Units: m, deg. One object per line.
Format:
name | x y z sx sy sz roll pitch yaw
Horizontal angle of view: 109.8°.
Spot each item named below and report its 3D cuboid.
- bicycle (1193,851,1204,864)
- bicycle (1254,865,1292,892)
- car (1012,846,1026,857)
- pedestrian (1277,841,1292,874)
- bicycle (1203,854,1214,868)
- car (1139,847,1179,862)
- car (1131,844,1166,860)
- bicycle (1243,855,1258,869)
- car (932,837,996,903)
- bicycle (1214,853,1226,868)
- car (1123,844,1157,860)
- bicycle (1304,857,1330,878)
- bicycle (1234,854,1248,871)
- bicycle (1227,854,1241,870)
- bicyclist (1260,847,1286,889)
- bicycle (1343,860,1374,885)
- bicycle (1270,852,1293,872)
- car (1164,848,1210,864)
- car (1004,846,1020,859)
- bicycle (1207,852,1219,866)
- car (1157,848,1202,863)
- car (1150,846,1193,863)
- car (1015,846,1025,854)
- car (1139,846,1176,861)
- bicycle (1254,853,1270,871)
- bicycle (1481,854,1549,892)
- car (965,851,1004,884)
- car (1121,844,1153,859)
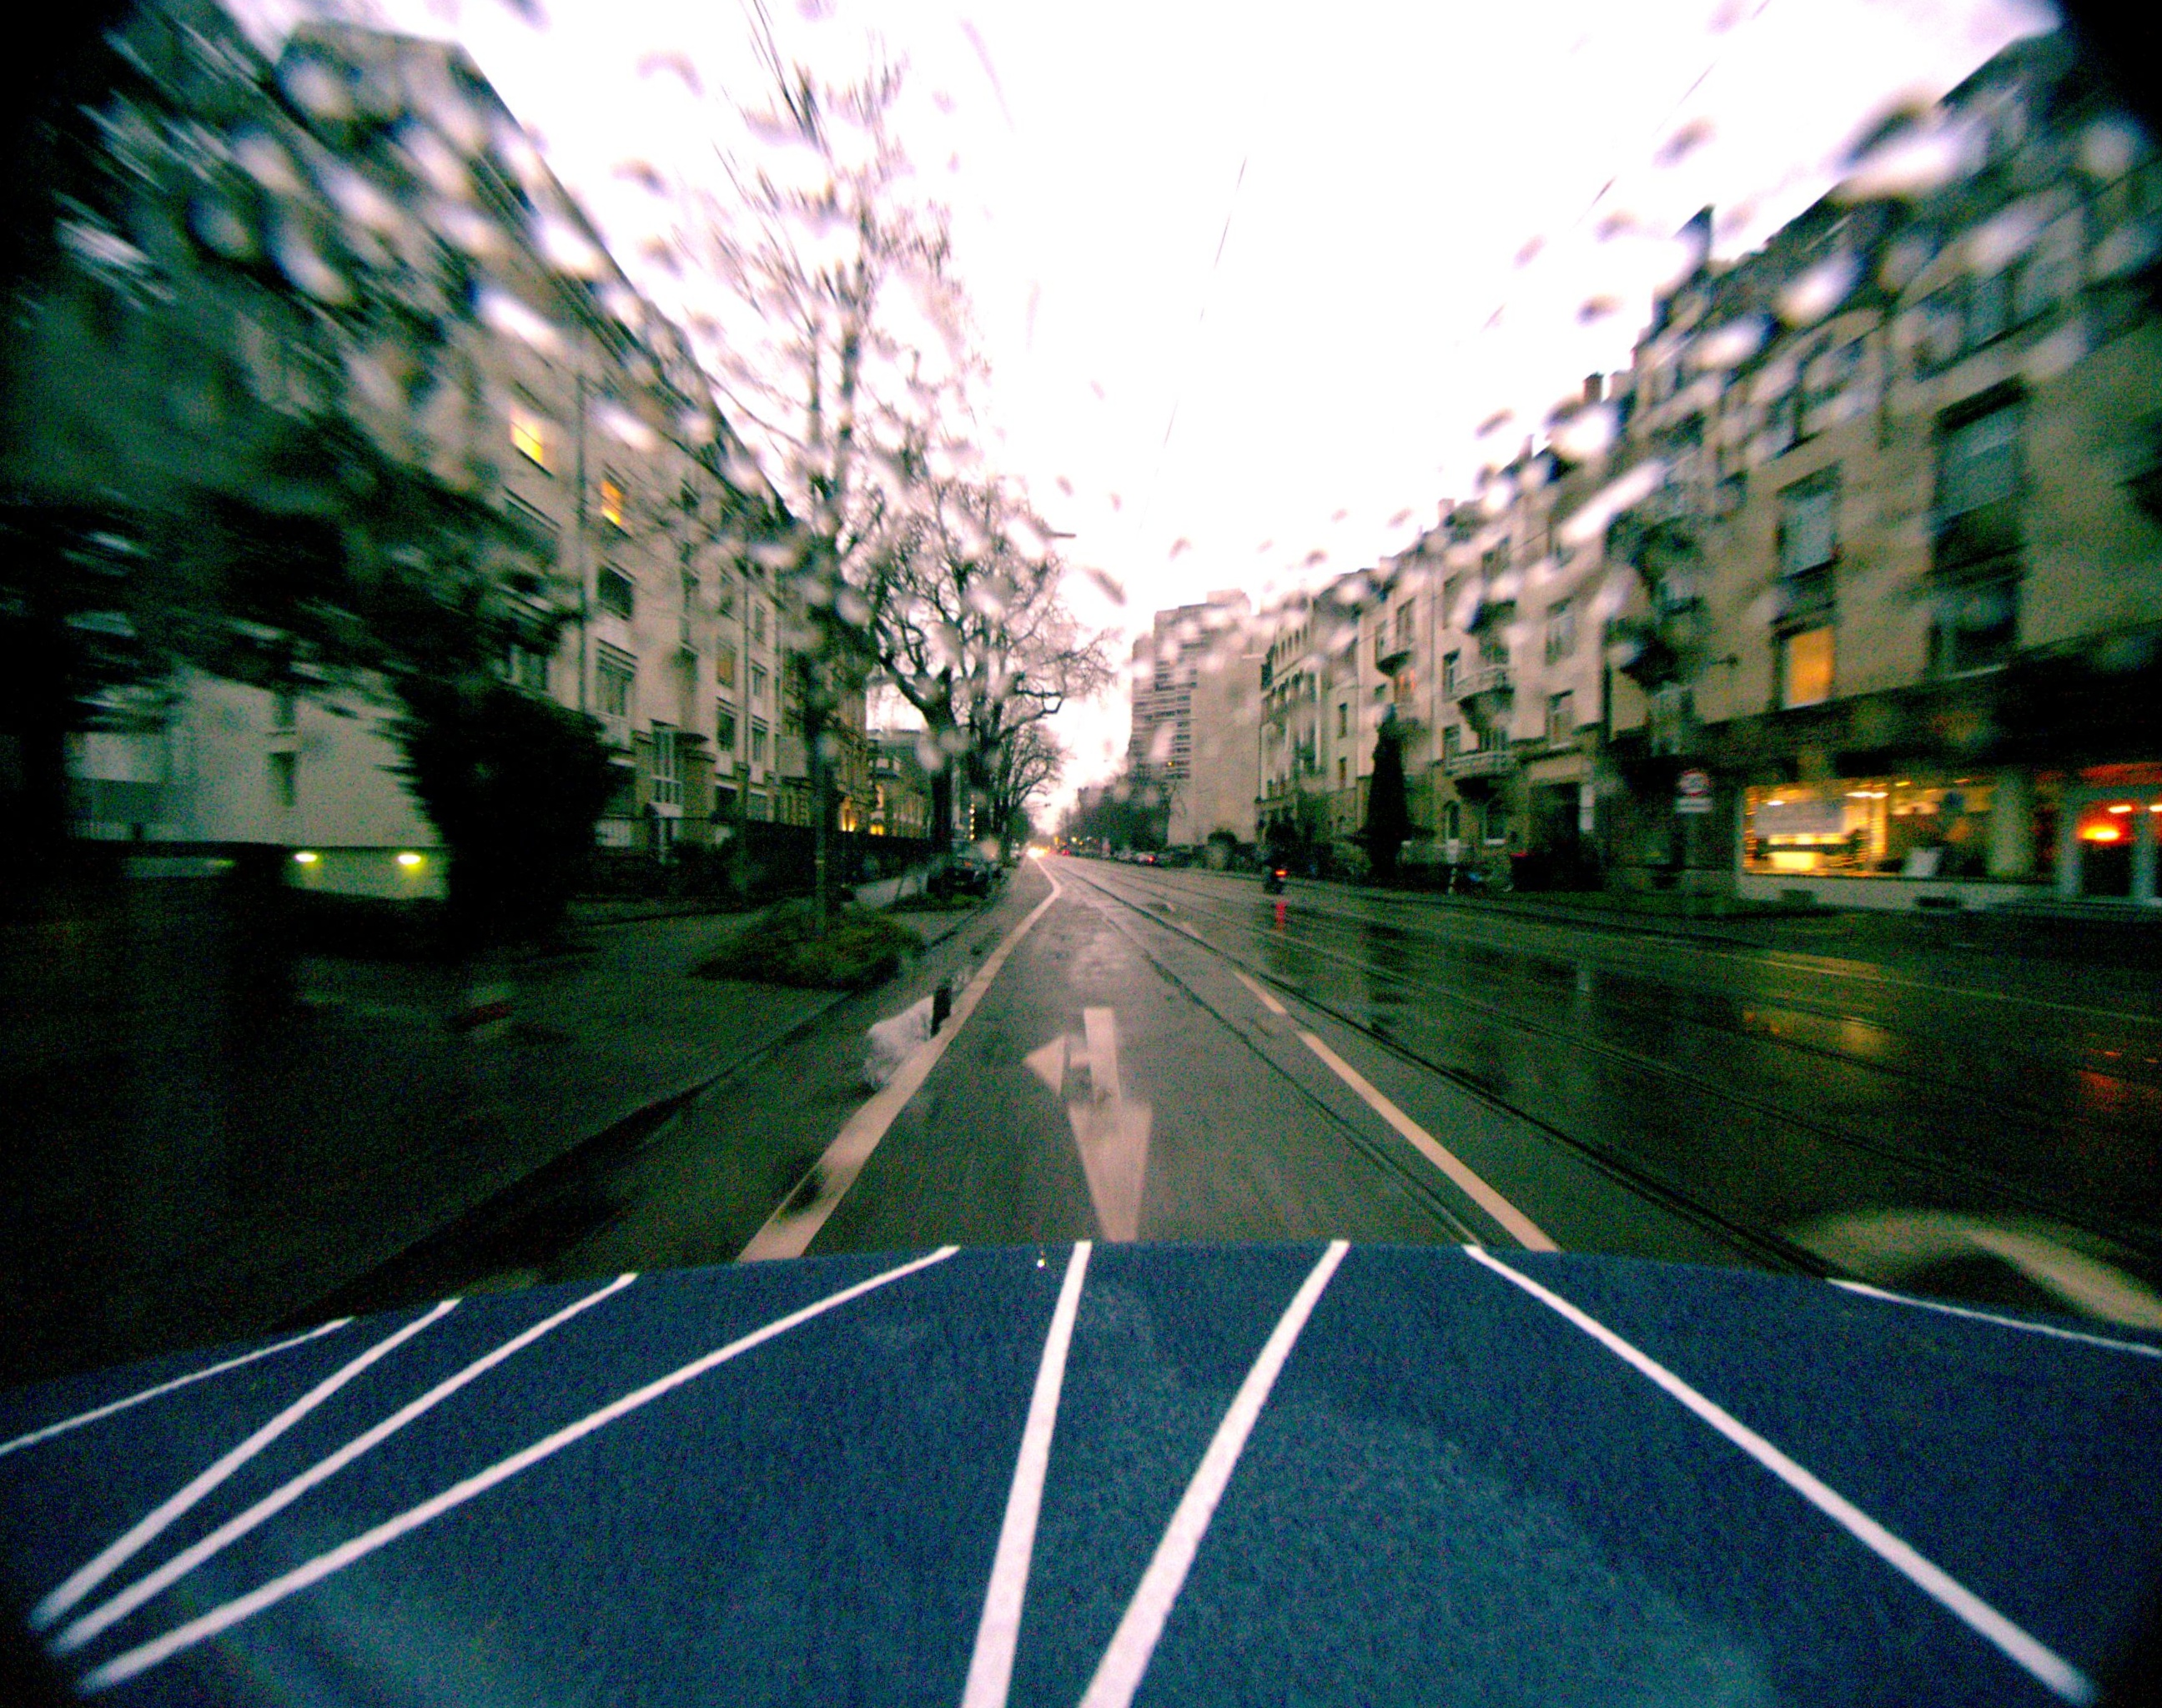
bicycle | 9.430 0.287 61.234 0.469 1.001 1.880 -3 1 -2
bicycle | 6.972 0.870 27.718 0.649 0.885 1.711 1 1 -11
car | -8.565 -0.378 104.425 1.727 1.405 3.840 0 1 -7
pedestrian | 10.426 0.189 38.968 0.574 1.633 0.448 -3 2 -7
bicycle | 9.783 0.508 58.328 0.435 1.001 1.880 -3 1 -2
car | 8.081 0.035 79.070 3.841 1.405 1.726 -2 1 -3
car | 7.985 -0.193 89.972 3.841 1.707 1.726 -3 1 -3
bicycle | 10.452 0.473 46.835 0.442 0.827 1.767 -3 1 -2
car | -3.843 0.467 25.523 1.727 1.934 4.506 -3 1 -5
bicycle | 9.940 0.473 54.305 0.435 1.001 1.880 -3 1 -2
car | 7.170 -0.238 92.745 3.841 1.707 1.726 -3 1 -3
bicycle | 11.261 0.645 36.287 0.531 0.885 2.209 -3 1 1
bicycle | 10.245 0.551 48.608 0.435 1.001 1.604 -3 1 -2
bicycle | 10.186 0.506 50.760 0.435 1.001 1.880 -3 1 -2
bicyclist | 6.993 0.499 27.633 0.658 1.492 0.657 1 1 -11
bicycle | 11.477 0.761 31.491 0.531 0.934 2.085 -3 1 1
bicycle | 10.984 0.445 41.688 0.524 1.001 2.208 -3 1 -2
car | 9.459 0.163 67.837 3.841 1.405 1.726 0 1 -3
car | -7.757 -0.162 85.170 1.727 1.405 3.840 0 1 -7
bicycle | 9.751 0.361 56.303 0.435 1.001 1.880 -3 1 -2
car | 9.099 0.119 70.492 3.841 1.405 1.726 0 1 -3
car | 8.725 0.029 73.279 3.841 1.405 1.726 -3 1 -3
car | -11.307 -0.788 140.577 1.727 1.405 3.840 -3 1 -7
car | 8.389 -0.028 83.585 3.841 1.405 1.726 -3 1 -3
bicycle | 10.737 0.491 45.036 0.435 1.001 1.711 -3 1 -2
bicycle | 14.661 0.629 25.674 1.990 1.152 0.531 -3 2 -4
car | -4.712 0.607 37.129 1.727 1.405 3.840 -3 1 -7
car | 7.091 -0.322 96.701 3.841 1.707 1.726 -3 1 -3
